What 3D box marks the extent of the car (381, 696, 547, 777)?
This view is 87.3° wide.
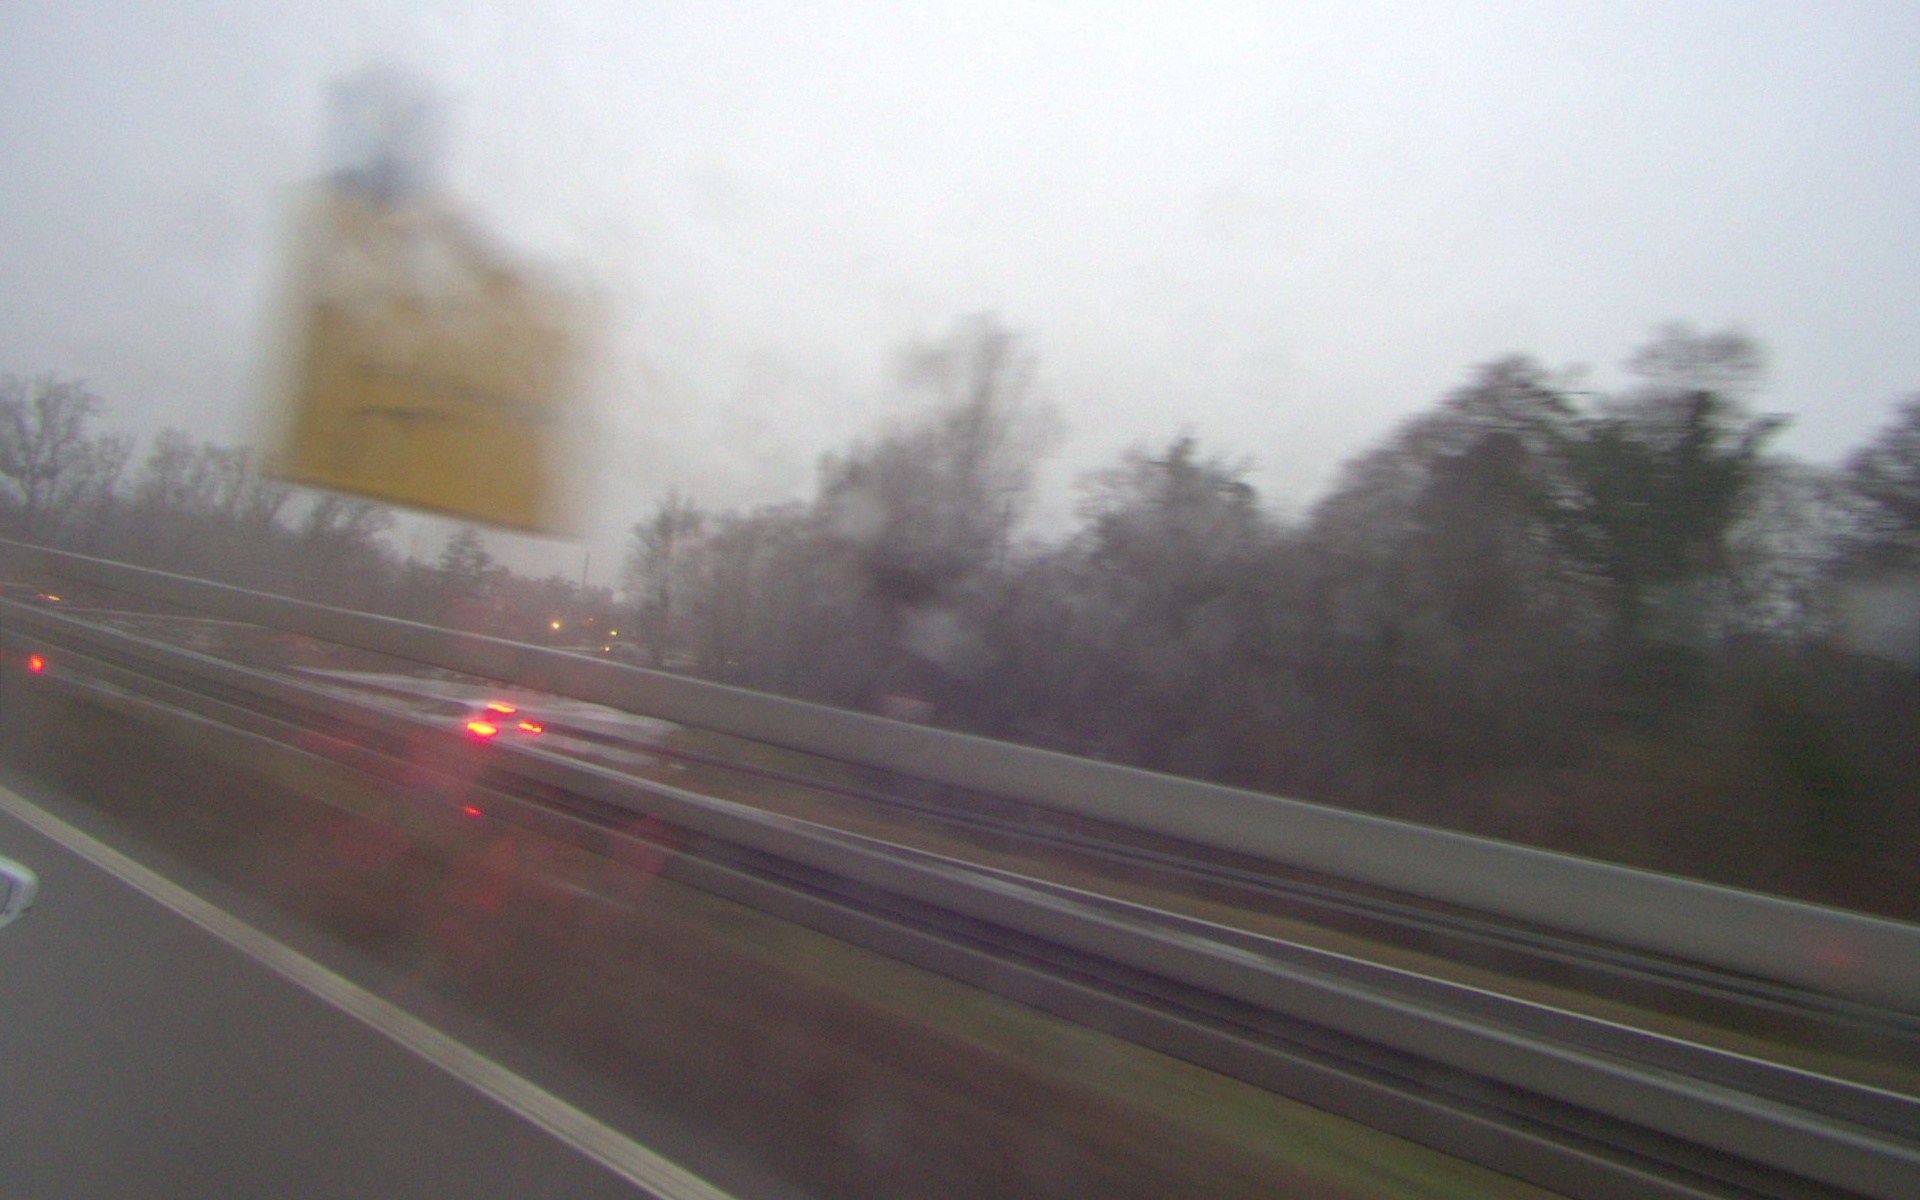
[{"bbox_3d":[-12.352,3.374,25.005,3.934,1.292,1.684,5,-8,31],"label":"car"}]
